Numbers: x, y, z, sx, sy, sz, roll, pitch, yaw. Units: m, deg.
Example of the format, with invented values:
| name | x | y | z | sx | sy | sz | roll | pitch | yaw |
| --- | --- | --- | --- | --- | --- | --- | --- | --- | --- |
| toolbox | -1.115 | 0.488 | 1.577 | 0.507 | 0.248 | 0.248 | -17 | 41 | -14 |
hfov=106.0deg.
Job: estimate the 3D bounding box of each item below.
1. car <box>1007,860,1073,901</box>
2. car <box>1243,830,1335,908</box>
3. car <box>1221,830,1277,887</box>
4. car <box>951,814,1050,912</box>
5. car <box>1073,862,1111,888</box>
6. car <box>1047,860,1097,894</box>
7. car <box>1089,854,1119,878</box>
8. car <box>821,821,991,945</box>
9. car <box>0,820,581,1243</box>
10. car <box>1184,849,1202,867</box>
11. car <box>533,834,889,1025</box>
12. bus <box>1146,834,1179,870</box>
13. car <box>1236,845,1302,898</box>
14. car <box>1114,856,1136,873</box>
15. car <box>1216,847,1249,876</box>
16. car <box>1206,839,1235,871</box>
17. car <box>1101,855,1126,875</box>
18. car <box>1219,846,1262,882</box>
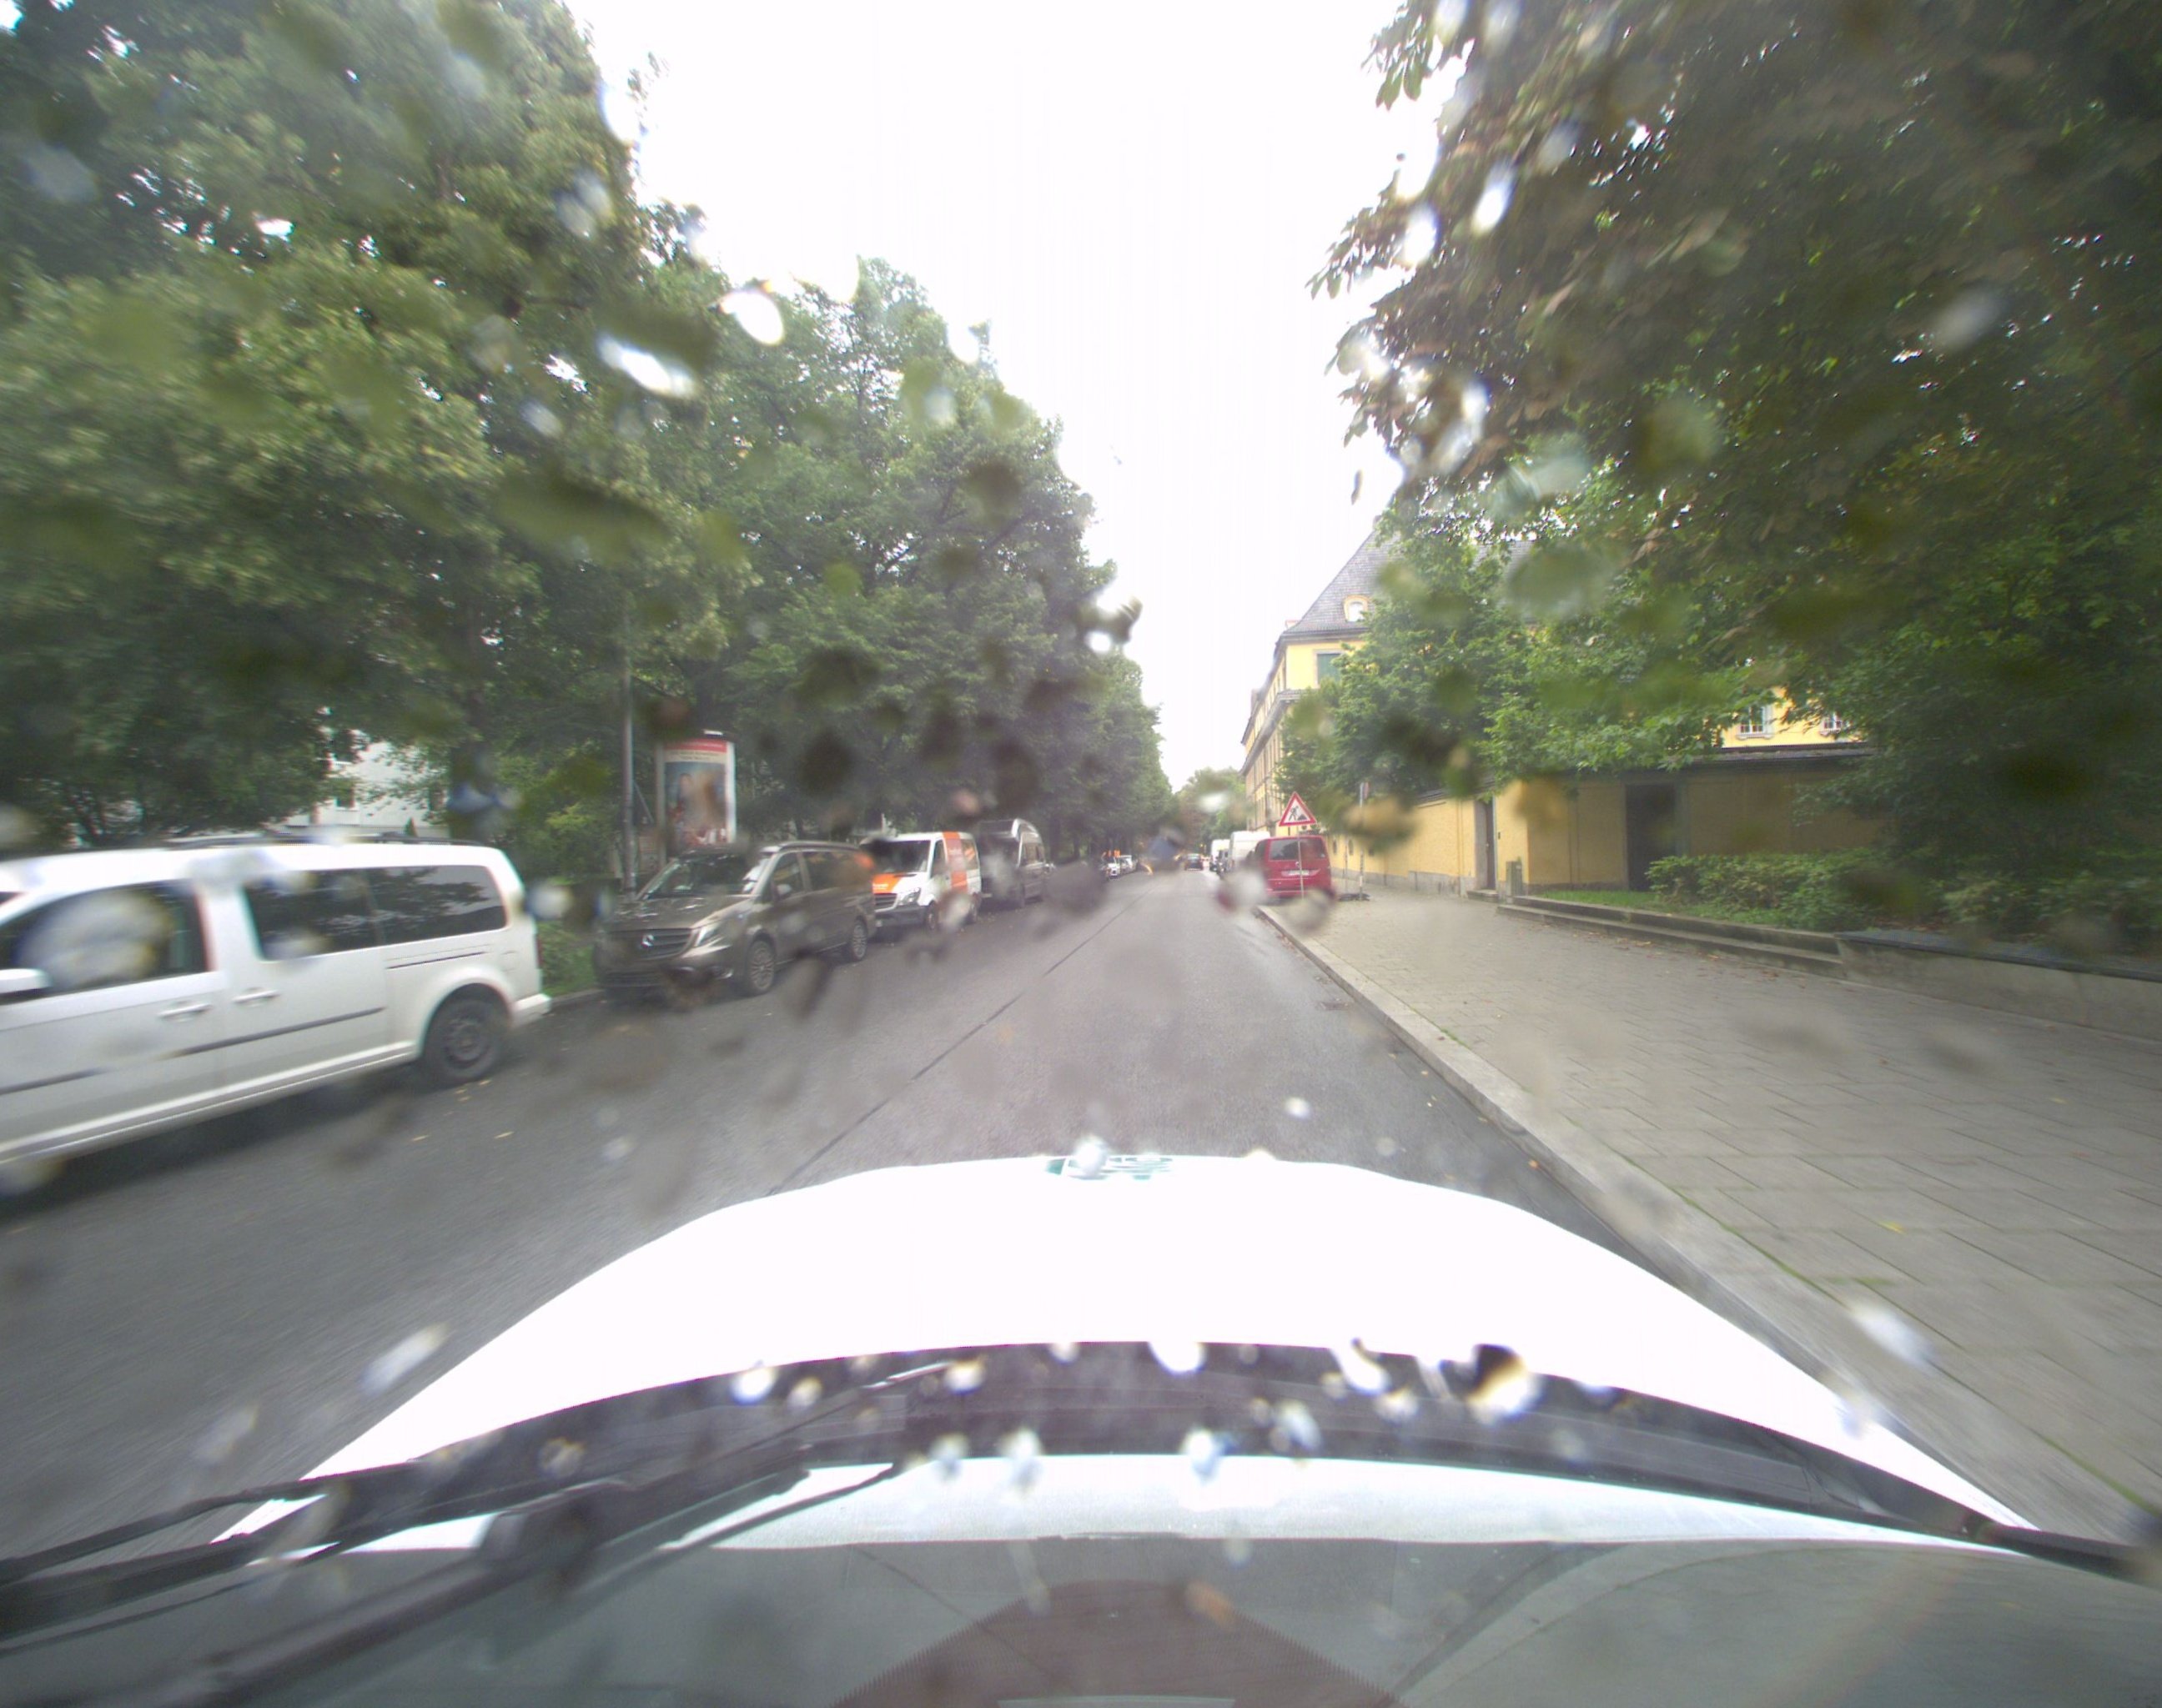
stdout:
| name | x | y | z | sx | sy | sz | roll | pitch | yaw |
| --- | --- | --- | --- | --- | --- | --- | --- | --- | --- |
| car | -1.611 | 1.043 | 33.788 | 1.779 | 1.438 | 4.589 | -2 | 0 | 8 |
| car | 5.978 | 0.445 | 24.025 | 1.849 | 1.967 | 5.454 | -2 | -1 | 7 |
| car | 8.050 | 0.248 | 39.544 | 2.084 | 2.488 | 5.750 | -2 | -1 | 7 |
| car | -2.530 | 0.341 | 27.344 | 1.935 | 2.854 | 6.247 | -2 | -1 | 6 |
| car | 0.703 | 1.231 | 48.160 | 1.781 | 1.454 | 3.955 | -2 | -1 | 6 |
| car | -0.386 | 1.081 | 39.071 | 1.781 | 1.438 | 4.559 | -2 | -1 | 6 |
| car | 1.694 | 0.875 | 58.813 | 1.775 | 1.597 | 4.592 | -2 | -1 | 6 |
| car | -3.731 | 0.626 | 18.602 | 2.103 | 2.349 | 5.417 | -2 | -1 | 6 |
| car | -5.728 | 0.854 | 4.803 | 1.868 | 1.937 | 4.847 | -3 | 0 | 11 |
| car | 10.573 | 0.352 | 76.464 | 1.568 | 1.584 | 4.054 | -2 | -1 | 9 |
| car | -4.651 | 0.814 | 11.488 | 1.935 | 1.963 | 5.469 | -3 | 0 | 6 |
| bus | 8.818 | -0.021 | 86.569 | 2.844 | 3.239 | 18.461 | -2 | -1 | 7 |
| car | 6.702 | 0.594 | 29.488 | 1.849 | 1.741 | 4.612 | -1 | 0 | 7 |
| car | 4.052 | 0.918 | 74.644 | 1.663 | 1.469 | 4.111 | -2 | -1 | 6 |
| car | 10.796 | 0.540 | 58.294 | 1.861 | 1.869 | 4.995 | -2 | -1 | 6 |
| car | 12.318 | 0.130 | 72.238 | 2.044 | 2.673 | 7.627 | -2 | -1 | 6 |
| car | 2.613 | 0.870 | 65.138 | 1.663 | 1.469 | 4.111 | -2 | -1 | 6 |
| car | 9.108 | 0.549 | 46.821 | 2.003 | 1.906 | 5.173 | -1 | 0 | 7 |
